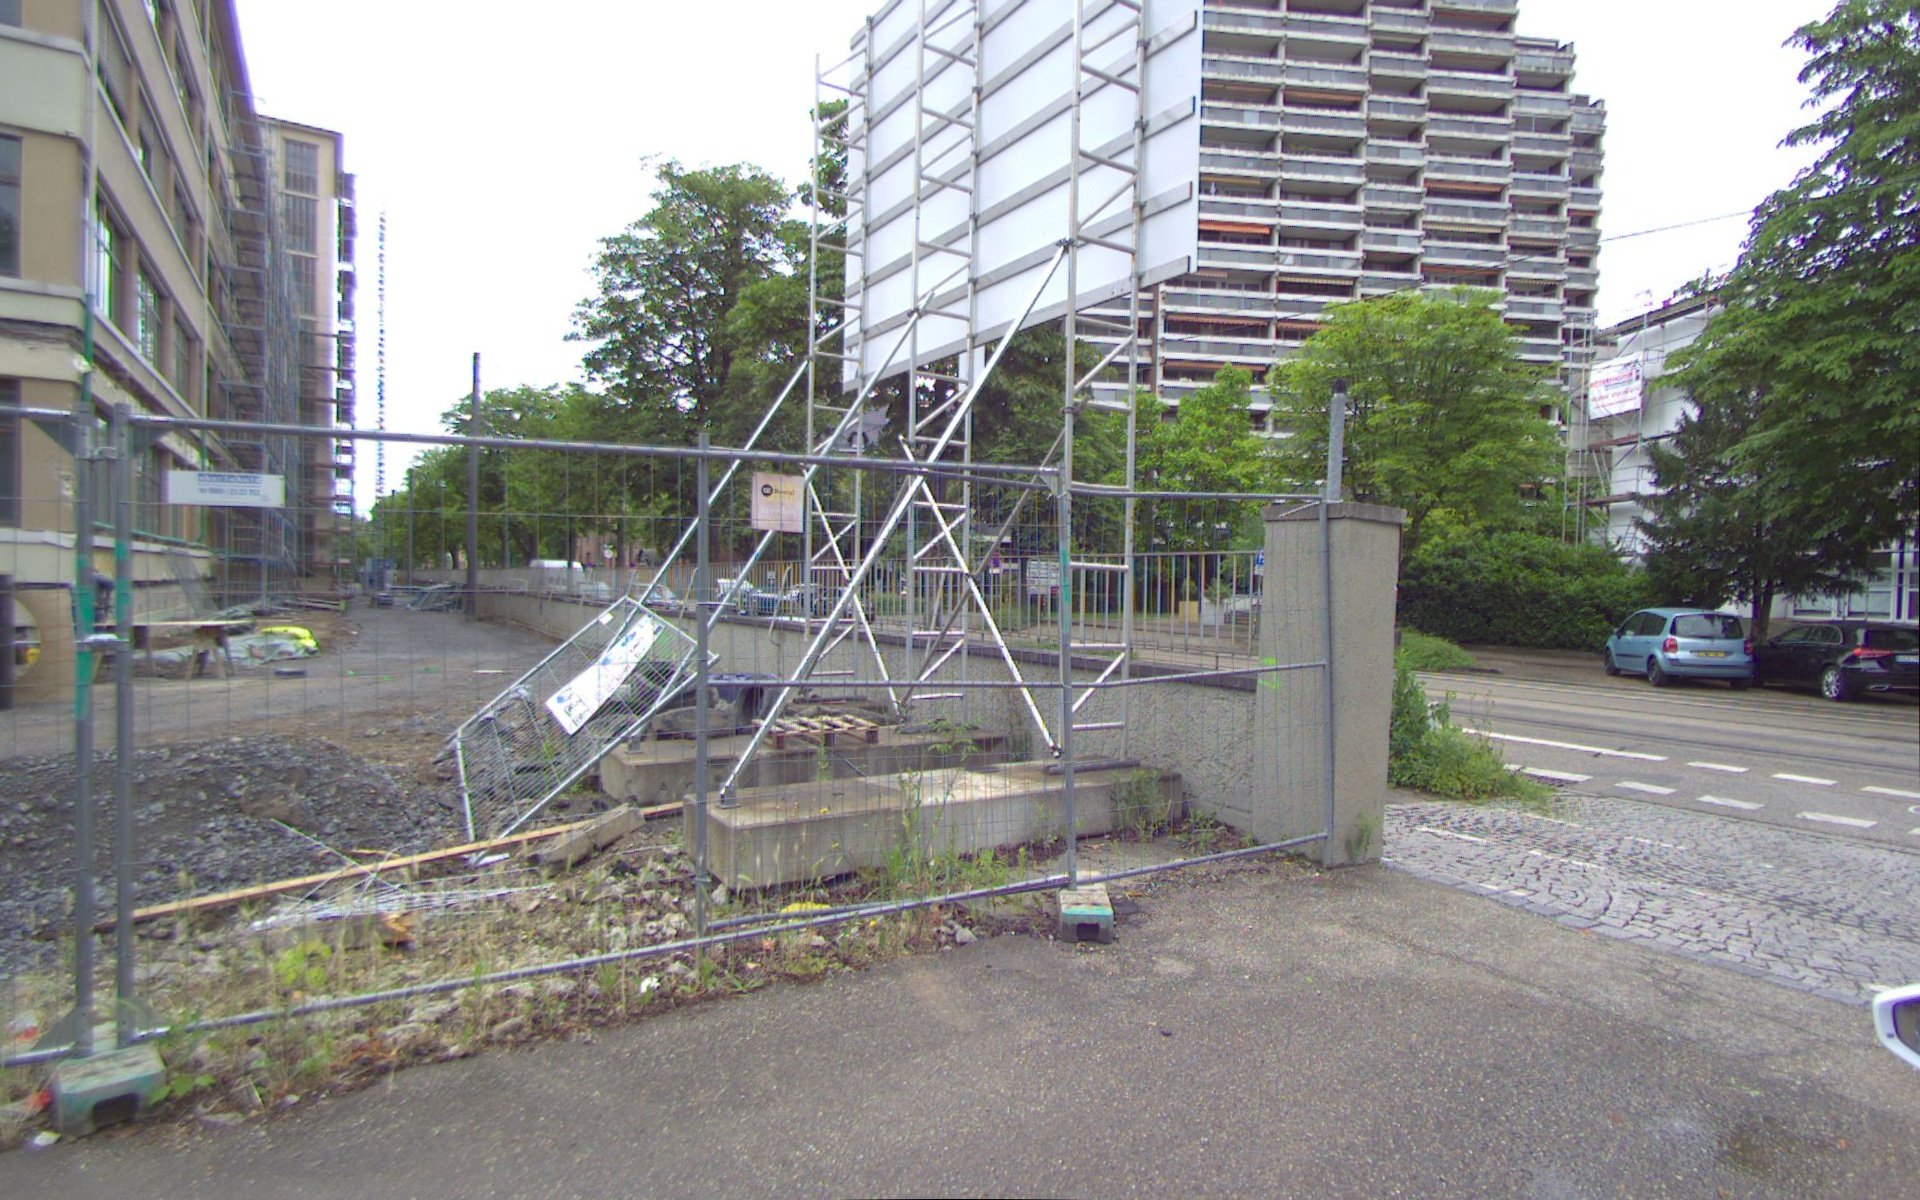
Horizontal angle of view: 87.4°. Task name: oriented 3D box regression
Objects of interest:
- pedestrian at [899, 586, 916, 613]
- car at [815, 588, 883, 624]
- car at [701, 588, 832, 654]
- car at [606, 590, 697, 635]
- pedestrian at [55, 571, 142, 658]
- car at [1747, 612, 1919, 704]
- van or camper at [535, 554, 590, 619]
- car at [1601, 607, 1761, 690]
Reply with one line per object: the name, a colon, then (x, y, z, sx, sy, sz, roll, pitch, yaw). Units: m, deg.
pedestrian: (-3.040, -0.051, 58.181, 0.838, 1.548, 0.515, 1, 1, -44)
car: (-4.728, 0.234, 42.327, 1.504, 1.439, 3.400, 1, 0, -32)
car: (-4.788, 0.454, 24.426, 1.813, 1.437, 3.965, 1, 0, -32)
car: (-10.304, 0.390, 33.357, 1.978, 1.328, 3.965, 1, 1, -32)
pedestrian: (-15.013, 0.237, 17.501, 0.916, 1.457, 0.979, 2, 0, 38)
car: (16.566, 1.023, 18.809, 1.586, 1.531, 3.339, 2, 0, 14)
van or camper: (-18.020, -0.610, 45.465, 1.974, 2.789, 3.974, 1, 0, -26)
car: (15.151, 0.963, 21.304, 1.586, 1.557, 3.339, 2, 0, 14)
